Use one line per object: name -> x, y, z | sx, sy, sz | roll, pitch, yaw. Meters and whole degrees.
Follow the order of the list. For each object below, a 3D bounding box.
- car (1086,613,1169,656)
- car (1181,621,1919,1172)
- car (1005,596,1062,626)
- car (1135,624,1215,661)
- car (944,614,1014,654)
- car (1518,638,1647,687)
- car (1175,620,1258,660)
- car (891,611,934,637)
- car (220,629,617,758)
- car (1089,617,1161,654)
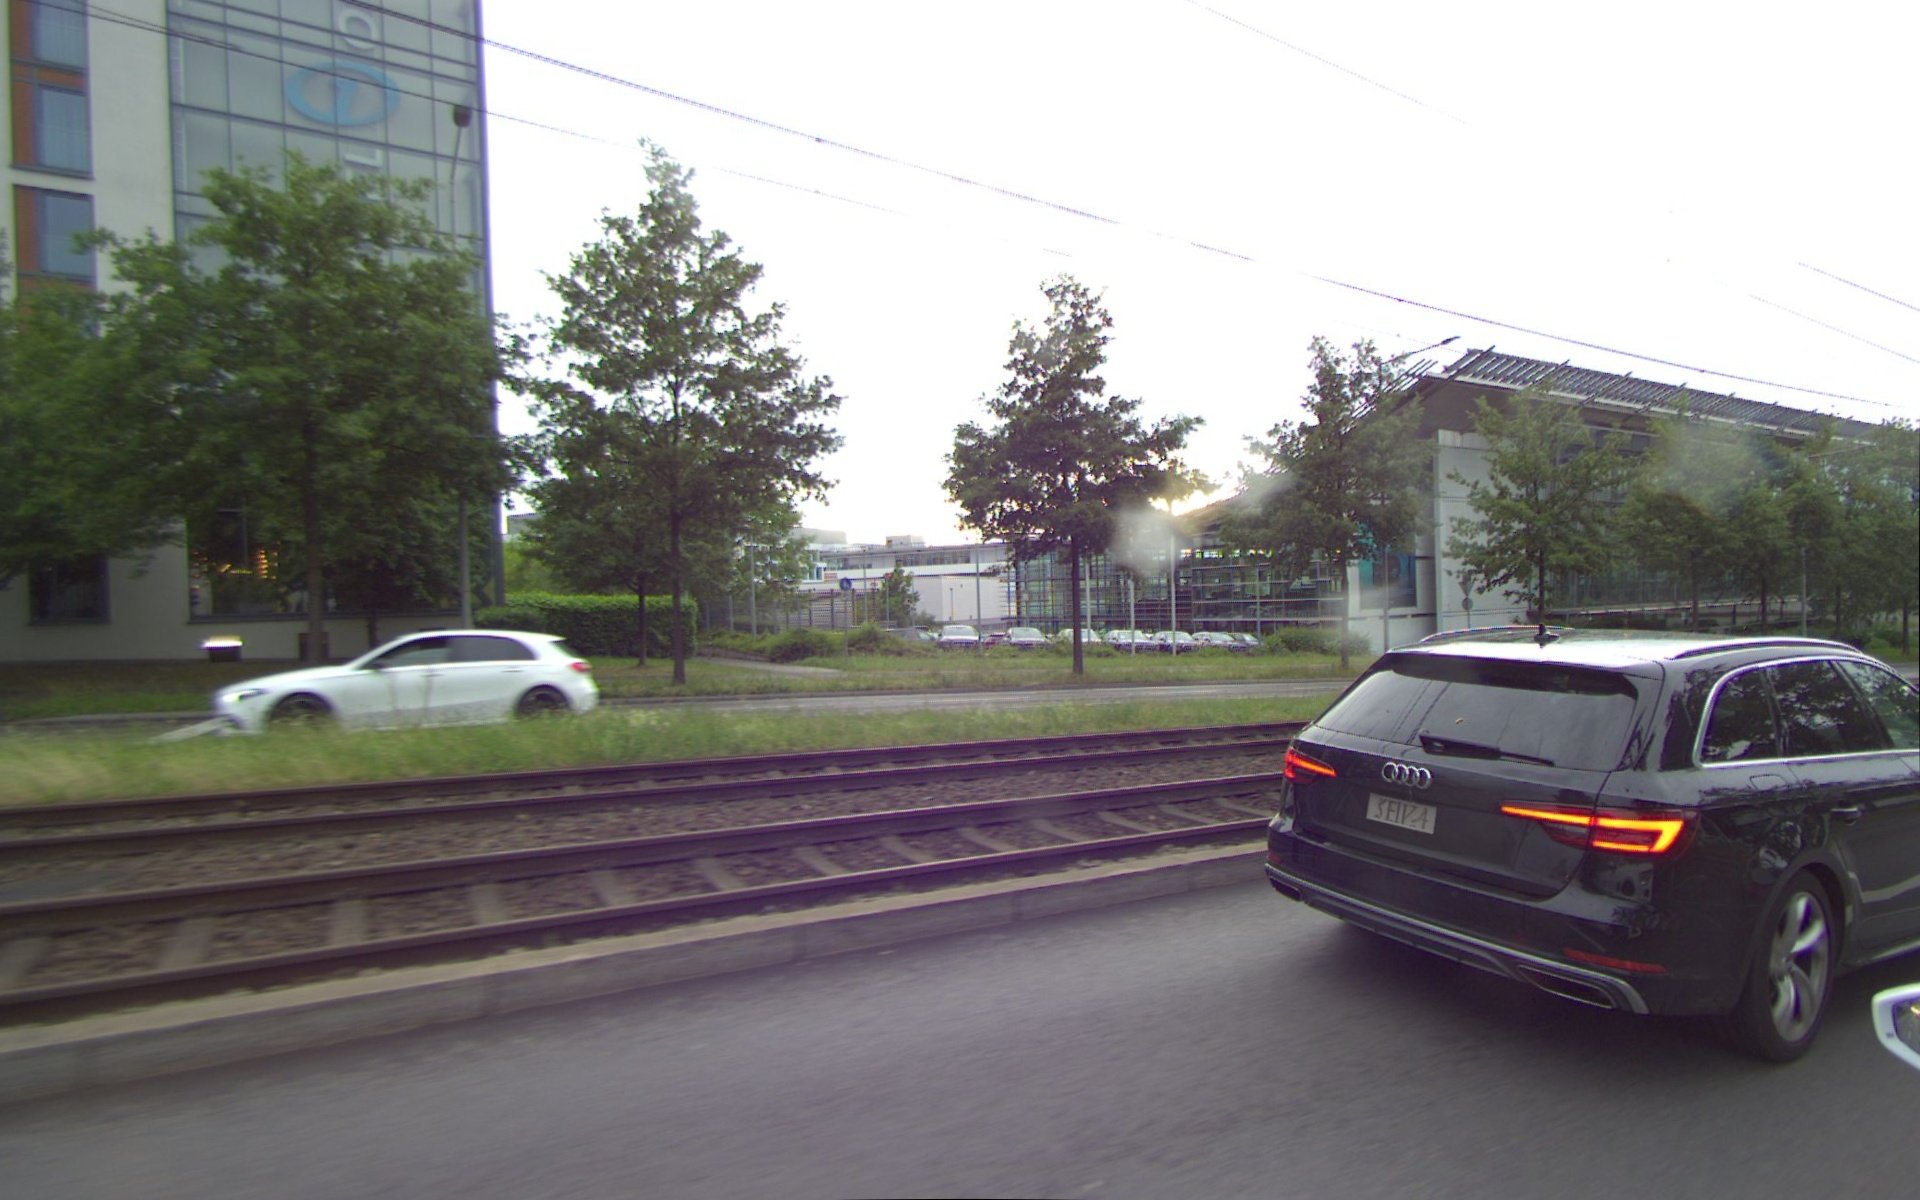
car -> 8.027, 1.639, 48.412 | 1.839, 1.861, 4.055 | 1, 0, -28
car -> 3.438, 0.844, 4.707 | 4.771, 1.453, 1.781 | 1, 0, -30
car -> 4.750, 0.717, 65.675 | 1.839, 1.861, 4.055 | 1, 0, -28
car -> 10.632, 2.096, 49.945 | 1.618, 1.639, 4.037 | 1, 0, -28
car -> 0.928, 1.733, 51.821 | 1.839, 1.861, 4.055 | 1, 0, -28
car -> 19.957, 1.965, 32.176 | 4.090, 1.466, 1.871 | 1, -2, -31
car -> 13.020, 2.015, 51.283 | 1.839, 1.861, 4.055 | 1, 0, -28
car -> -3.786, 1.897, 79.834 | 1.839, 1.861, 4.055 | 1, 0, -28
car -> -7.017, 1.140, 13.396 | 4.377, 1.463, 1.829 | 1, -3, -31
car -> 9.166, 1.948, 56.117 | 1.839, 1.861, 4.055 | 1, 0, -28
